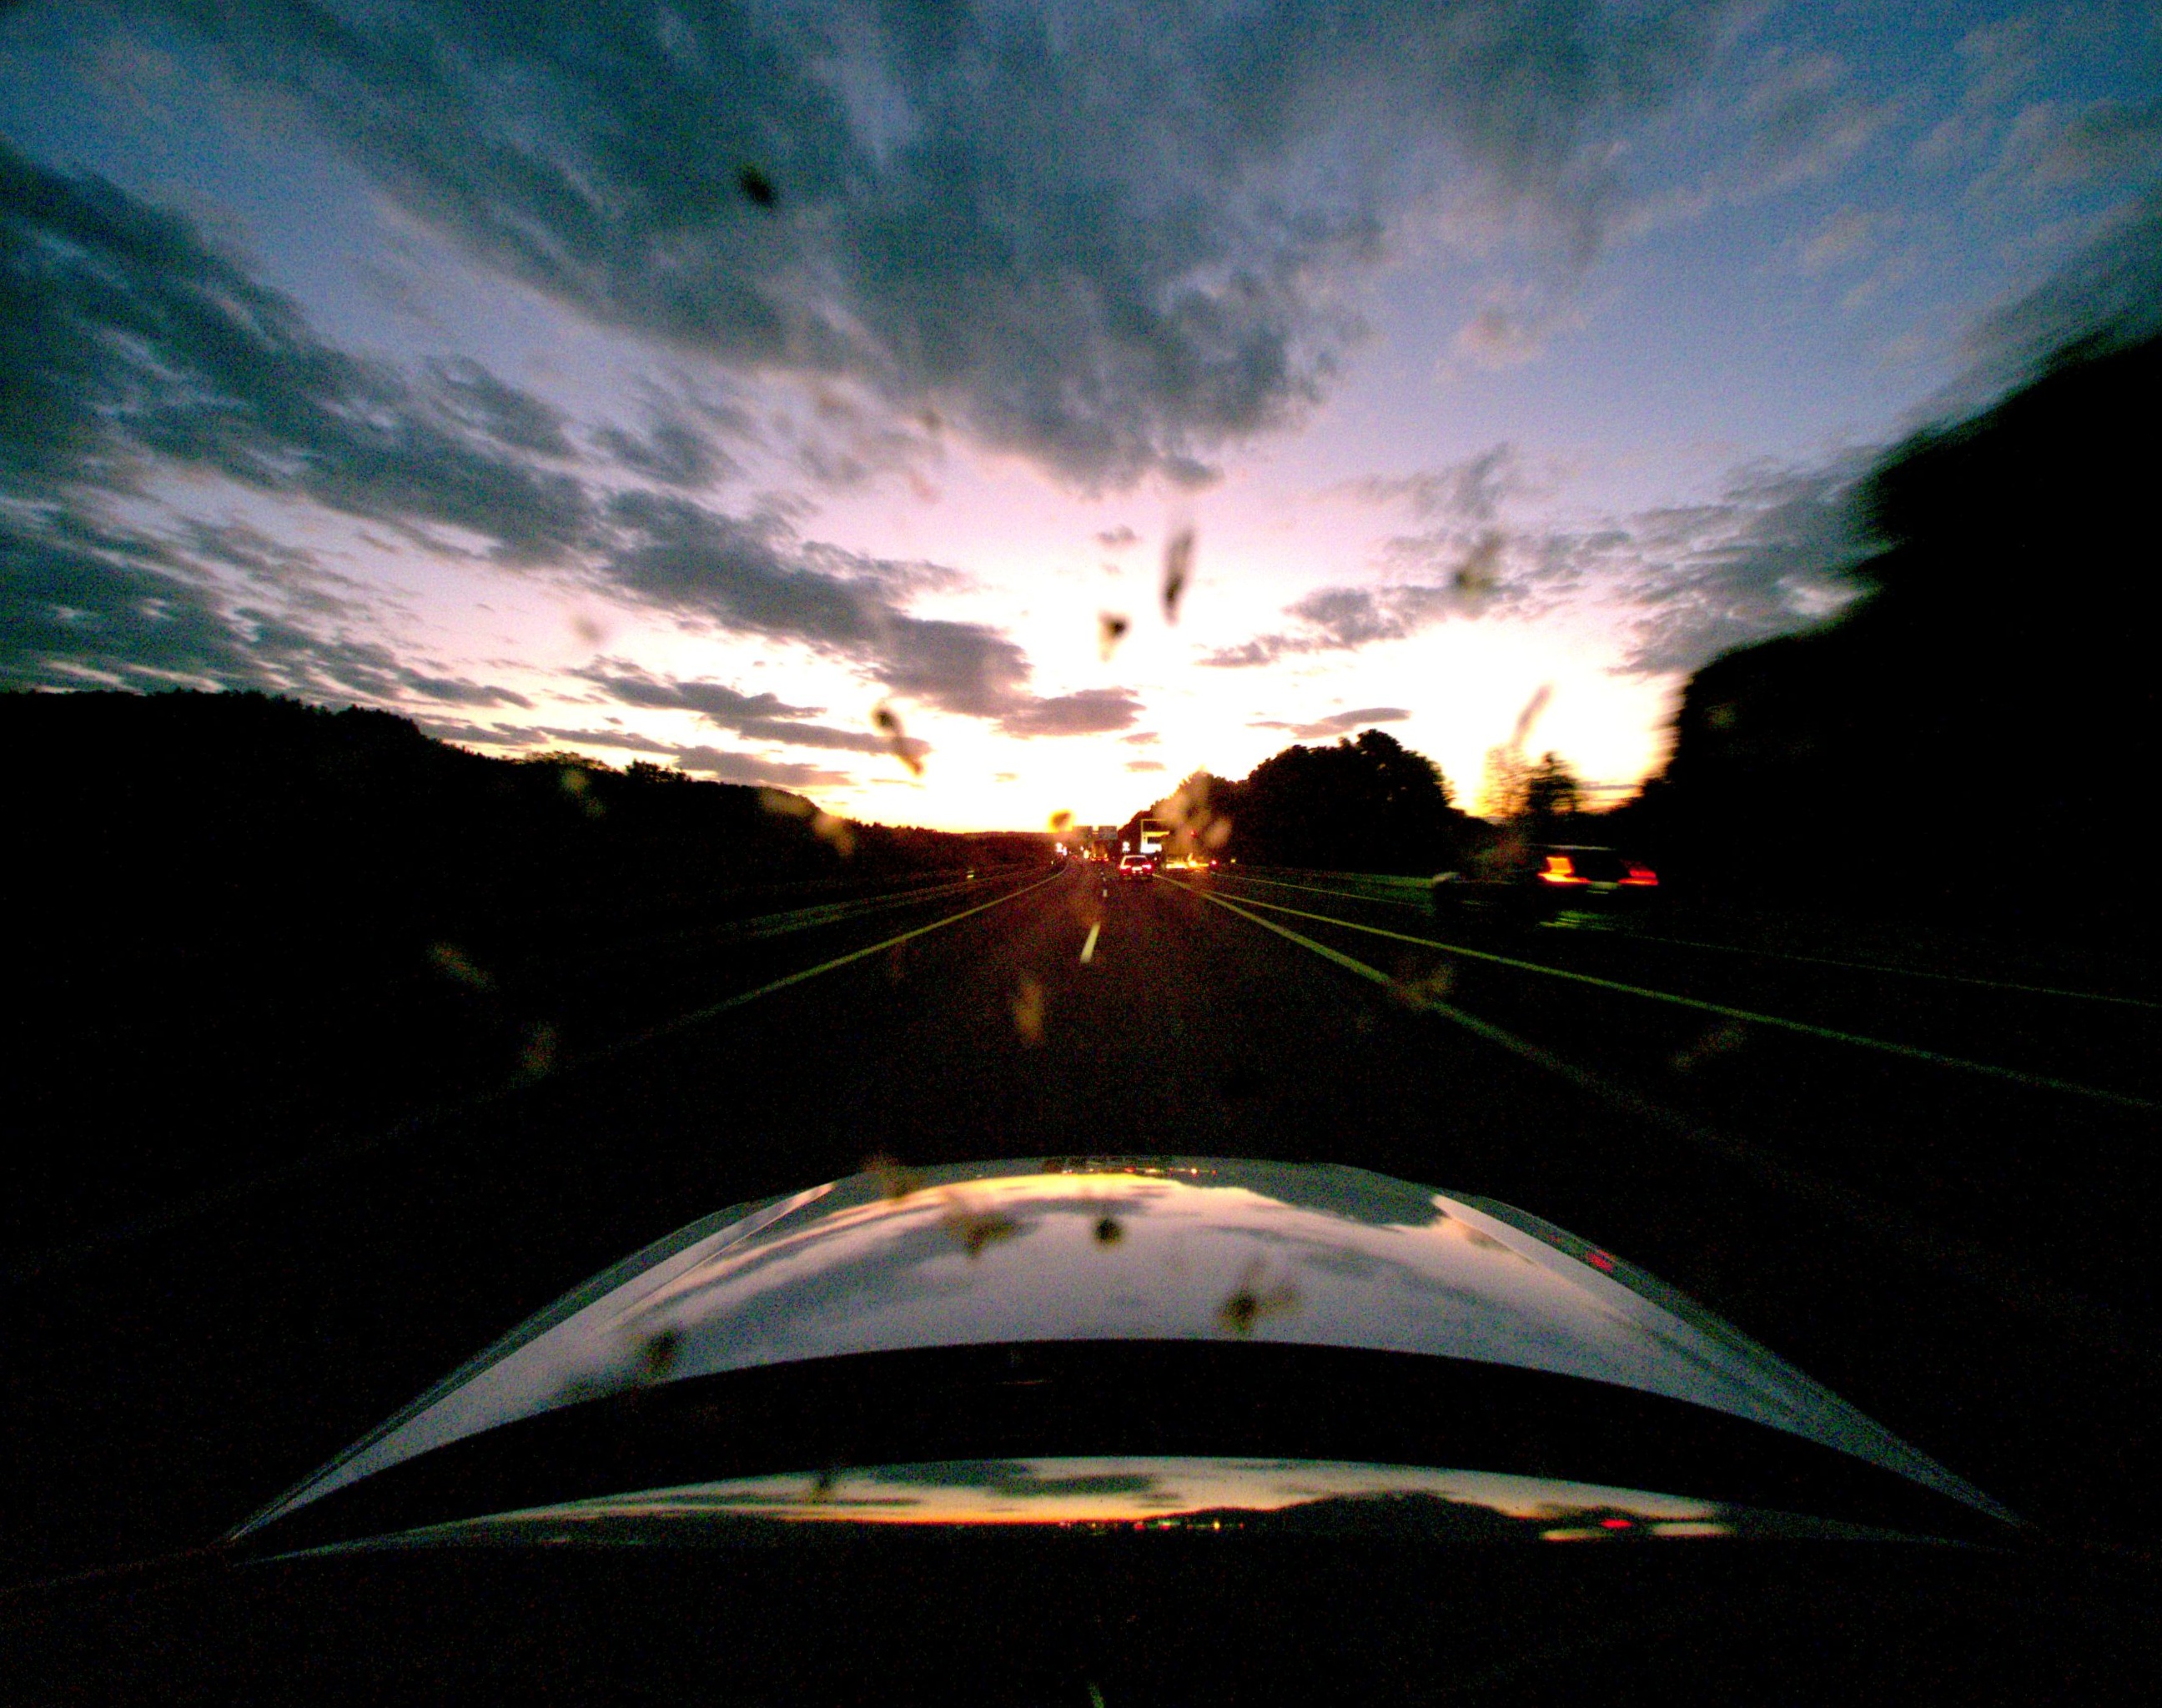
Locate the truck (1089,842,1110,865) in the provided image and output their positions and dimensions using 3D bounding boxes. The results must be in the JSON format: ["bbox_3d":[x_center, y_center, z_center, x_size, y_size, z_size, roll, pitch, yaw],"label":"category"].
[{"bbox_3d":[3.435,-0.064,154.613,3.500,4.301,9.885,-1,-1,-1],"label":"truck"}]

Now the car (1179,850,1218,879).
[{"bbox_3d":[6.644,0.599,46.388,1.606,1.556,3.316,-1,-1,-2],"label":"car"}]

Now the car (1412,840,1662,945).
[{"bbox_3d":[8.375,0.634,15.643,1.793,1.645,5.157,1,0,-2],"label":"car"}]

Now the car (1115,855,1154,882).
[{"bbox_3d":[2.964,0.796,45.923,1.909,1.442,3.999,-1,-1,0],"label":"car"}]

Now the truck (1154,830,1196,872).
[{"bbox_3d":[7.182,-0.211,63.041,2.262,2.972,6.628,2,0,-1],"label":"truck"}]
